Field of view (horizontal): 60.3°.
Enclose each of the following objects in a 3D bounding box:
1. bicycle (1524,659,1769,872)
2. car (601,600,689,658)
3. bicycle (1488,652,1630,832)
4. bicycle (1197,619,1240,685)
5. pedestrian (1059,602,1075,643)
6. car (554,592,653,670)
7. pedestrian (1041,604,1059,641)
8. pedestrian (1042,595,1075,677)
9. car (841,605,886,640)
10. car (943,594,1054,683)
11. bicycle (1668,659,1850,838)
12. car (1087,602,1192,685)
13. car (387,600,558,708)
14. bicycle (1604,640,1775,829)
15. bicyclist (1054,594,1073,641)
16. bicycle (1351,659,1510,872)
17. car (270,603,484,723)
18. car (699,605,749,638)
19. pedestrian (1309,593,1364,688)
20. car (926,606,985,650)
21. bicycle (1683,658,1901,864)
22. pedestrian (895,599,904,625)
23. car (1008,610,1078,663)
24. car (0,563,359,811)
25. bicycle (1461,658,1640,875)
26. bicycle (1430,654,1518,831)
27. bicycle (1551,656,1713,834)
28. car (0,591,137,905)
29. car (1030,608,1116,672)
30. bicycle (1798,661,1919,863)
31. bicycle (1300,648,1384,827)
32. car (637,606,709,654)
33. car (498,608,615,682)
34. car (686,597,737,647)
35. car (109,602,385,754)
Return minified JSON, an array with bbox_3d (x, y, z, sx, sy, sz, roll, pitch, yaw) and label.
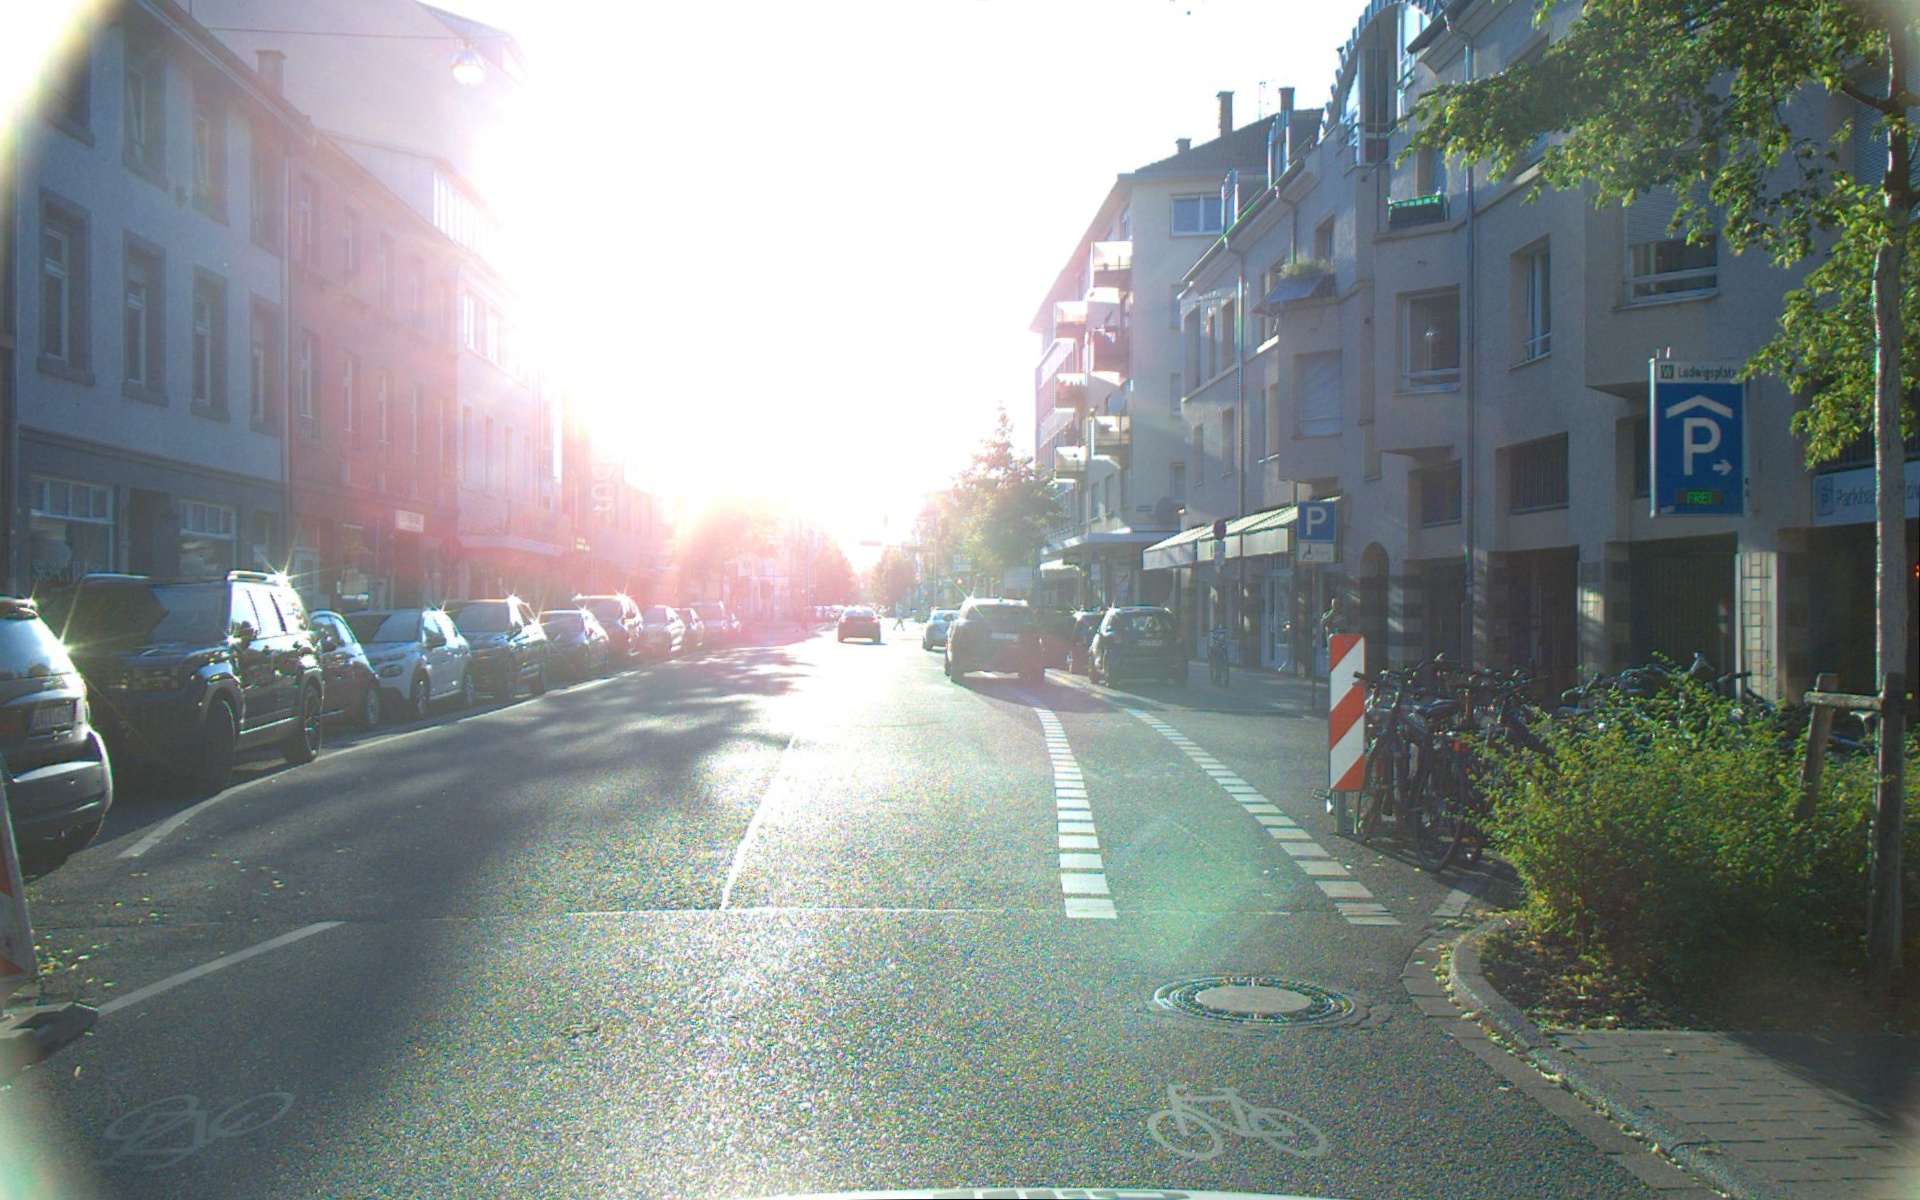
[{"bbox_3d":[4.058,0.939,9.889,0.377,1.119,1.512,0,0,-24],"label":"bicycle"},{"bbox_3d":[-9.347,0.814,49.500,1.790,1.583,5.133,-2,0,-2],"label":"car"},{"bbox_3d":[4.142,0.945,11.530,0.374,1.119,1.564,0,0,-2],"label":"bicycle"},{"bbox_3d":[5.147,1.015,32.973,0.389,1.256,1.823,-1,0,-5],"label":"bicycle"},{"bbox_3d":[4.639,0.969,71.897,0.673,1.752,0.717,-1,-1,3],"label":"pedestrian"},{"bbox_3d":[-9.162,0.747,42.873,1.791,1.842,5.343,-2,0,-5],"label":"car"},{"bbox_3d":[3.906,0.968,71.963,0.674,1.586,0.862,0,-1,-3],"label":"pedestrian"},{"bbox_3d":[2.038,0.740,34.302,0.436,1.694,0.560,-1,0,-28],"label":"pedestrian"},{"bbox_3d":[-4.125,0.949,71.395,1.846,1.440,4.322,1,0,-3],"label":"car"},{"bbox_3d":[0.735,0.761,34.530,1.955,1.684,4.671,2,0,-3],"label":"car"},{"bbox_3d":[5.502,0.990,11.478,0.374,1.119,1.521,0,-1,-7],"label":"bicycle"},{"bbox_3d":[3.602,0.845,33.580,1.601,1.581,2.691,-1,0,-5],"label":"car"},{"bbox_3d":[-8.030,0.831,27.604,1.738,1.661,4.236,0,0,-2],"label":"car"},{"bbox_3d":[5.065,0.898,11.573,0.374,1.210,1.521,1,-1,-6],"label":"bicycle"},{"bbox_3d":[3.867,0.654,62.014,0.637,1.732,1.095,0,-1,-1],"label":"bicyclist"},{"bbox_3d":[2.778,0.937,9.891,0.374,1.119,1.521,0,0,-6],"label":"bicycle"},{"bbox_3d":[-8.071,0.811,23.267,1.738,1.541,3.948,0,0,-2],"label":"car"},{"bbox_3d":[-10.076,0.915,70.930,1.797,1.351,4.120,0,0,-4],"label":"car"},{"bbox_3d":[6.799,0.736,29.909,0.794,1.675,0.606,-2,-1,-1],"label":"pedestrian"},{"bbox_3d":[-0.207,0.992,59.163,1.883,1.440,4.545,2,0,-3],"label":"car"},{"bbox_3d":[5.099,0.948,10.236,0.375,1.119,1.519,0,0,-10],"label":"bicycle"},{"bbox_3d":[-4.073,0.809,111.313,0.488,1.745,0.459,0,0,-23],"label":"pedestrian"},{"bbox_3d":[2.376,1.022,48.091,1.669,1.461,3.929,0,0,-3],"label":"car"},{"bbox_3d":[-6.737,0.650,14.323,1.868,1.759,4.694,-1,0,-7],"label":"car"},{"bbox_3d":[3.424,0.923,9.697,0.374,1.119,1.521,0,0,-6],"label":"bicycle"},{"bbox_3d":[3.642,0.972,11.780,0.363,1.127,1.524,0,0,9],"label":"bicycle"},{"bbox_3d":[4.650,0.968,11.524,0.374,1.119,1.521,0,-1,-6],"label":"bicycle"},{"bbox_3d":[-6.128,0.775,8.851,2.642,1.547,1.570,-2,1,-7],"label":"car"},{"bbox_3d":[2.710,0.936,40.324,1.601,1.449,3.755,-1,0,-4],"label":"car"},{"bbox_3d":[5.677,0.955,9.925,0.374,1.119,1.521,0,0,-7],"label":"bicycle"},{"bbox_3d":[2.710,0.941,11.822,0.355,1.161,1.566,0,-1,5],"label":"bicycle"},{"bbox_3d":[-9.585,0.974,55.464,1.791,1.464,4.550,-2,0,-3],"label":"car"},{"bbox_3d":[-8.804,0.939,36.425,1.679,1.465,4.307,-2,0,-3],"label":"car"},{"bbox_3d":[-9.715,0.868,64.884,1.798,1.887,4.118,0,-1,-6],"label":"car"},{"bbox_3d":[-7.973,0.807,18.844,1.738,1.541,3.482,-1,0,-2],"label":"car"}]
